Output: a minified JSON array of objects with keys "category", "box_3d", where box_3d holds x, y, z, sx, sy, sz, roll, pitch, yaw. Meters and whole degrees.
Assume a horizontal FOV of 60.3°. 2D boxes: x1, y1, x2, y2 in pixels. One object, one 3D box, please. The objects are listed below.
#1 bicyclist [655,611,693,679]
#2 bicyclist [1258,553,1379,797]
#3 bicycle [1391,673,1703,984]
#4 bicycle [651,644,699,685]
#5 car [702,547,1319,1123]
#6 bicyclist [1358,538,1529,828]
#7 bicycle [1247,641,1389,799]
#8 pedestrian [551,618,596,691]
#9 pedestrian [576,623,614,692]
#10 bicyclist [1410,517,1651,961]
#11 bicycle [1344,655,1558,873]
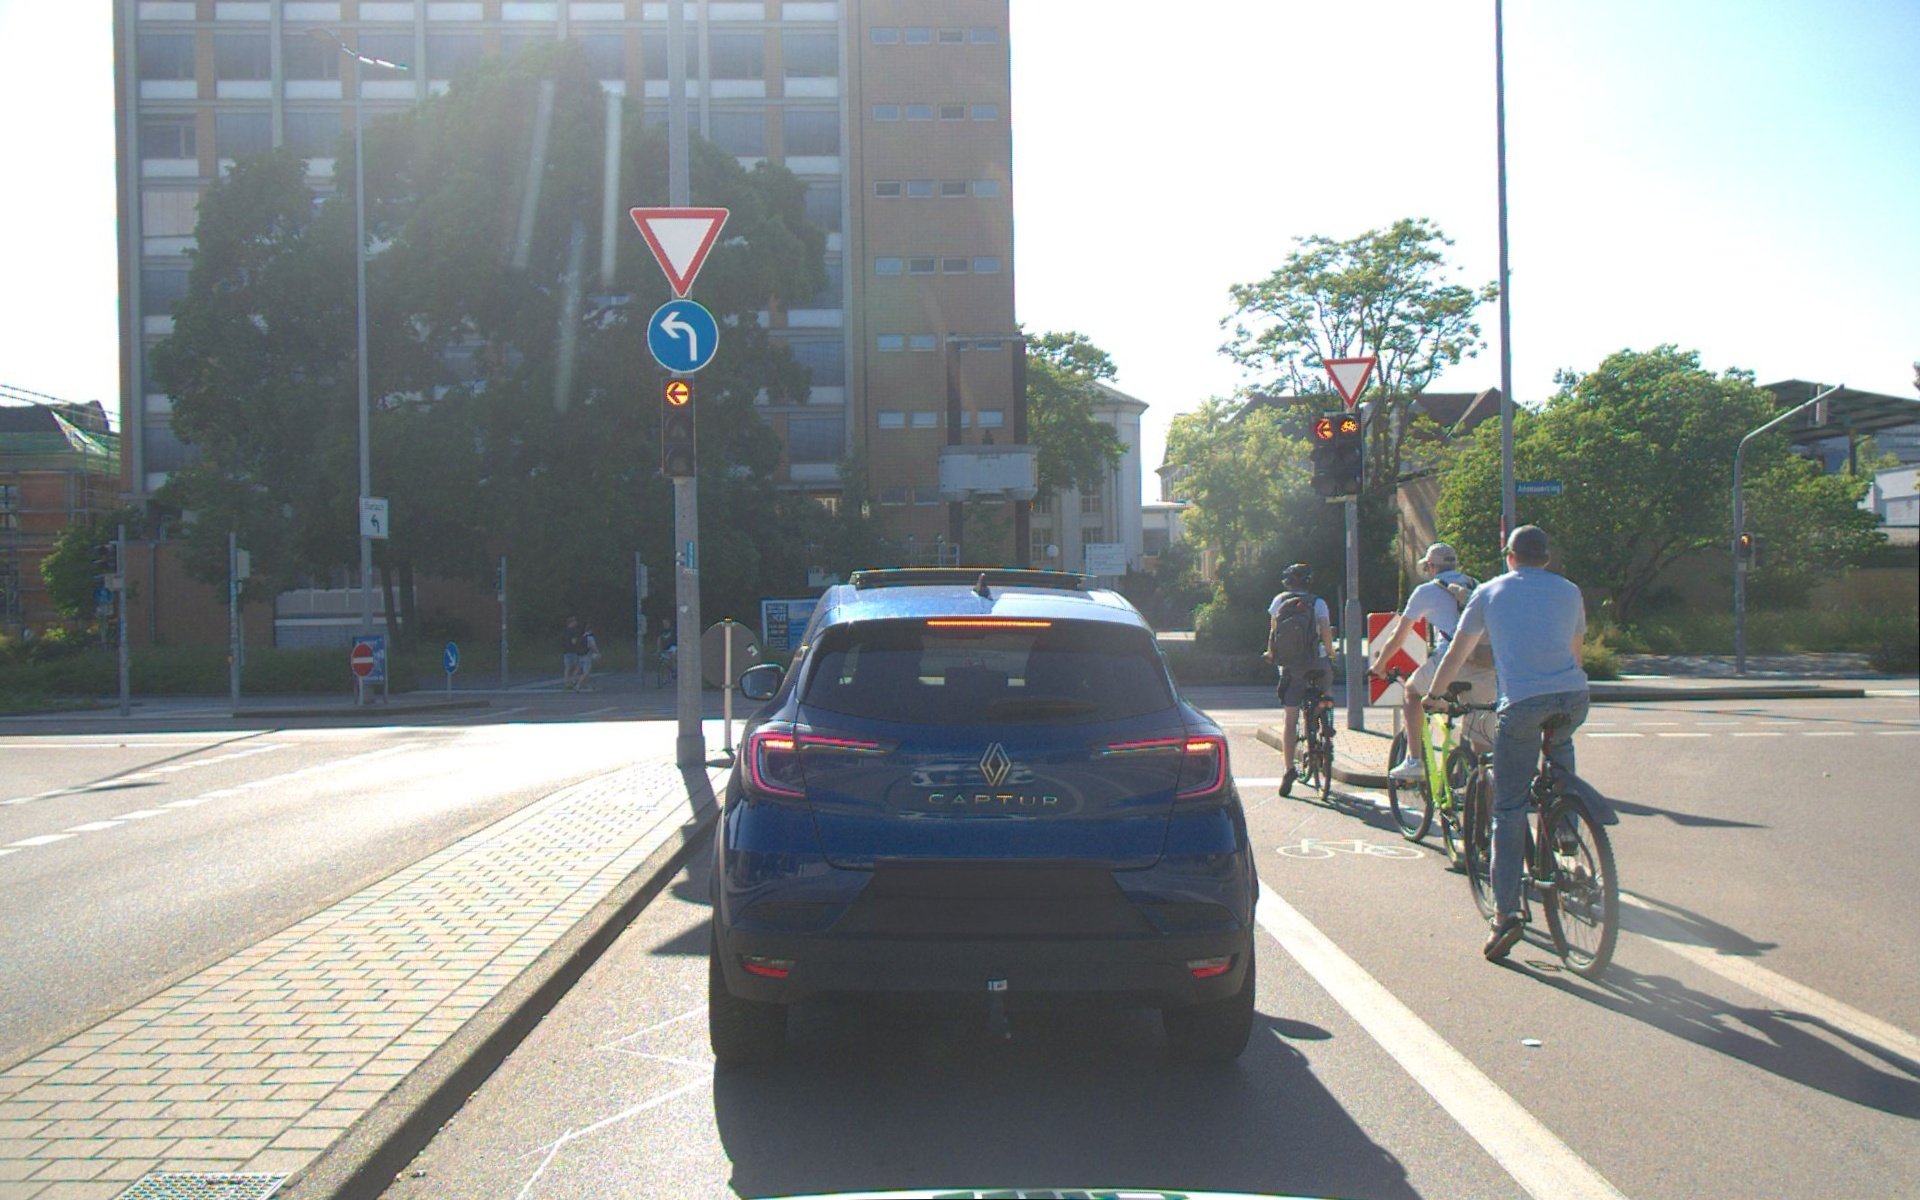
[{"category":"bicyclist","box_3d":[-7.540,1.186,43.664,0.739,1.746,0.999,-1,0,5]},{"category":"bicyclist","box_3d":[2.786,0.561,12.944,0.685,1.822,1.142,0,0,-1]},{"category":"bicycle","box_3d":[2.505,0.920,7.315,0.675,1.108,1.922,0,0,-1]},{"category":"bicycle","box_3d":[-7.521,1.699,43.767,0.739,1.002,2.095,-1,0,5]},{"category":"car","box_3d":[0.063,0.663,6.641,1.753,1.613,3.912,0,0,-3]},{"category":"bicyclist","box_3d":[2.849,0.466,9.847,0.664,1.622,1.142,0,0,-1]},{"category":"bicycle","box_3d":[2.770,0.896,12.976,0.675,1.108,1.922,0,0,-1]},{"category":"pedestrian","box_3d":[-10.152,1.422,43.429,0.796,1.895,0.910,-1,0,13]},{"category":"pedestrian","box_3d":[-9.463,1.476,42.854,0.666,1.761,0.761,-1,0,13]},{"category":"bicyclist","box_3d":[2.499,0.571,7.368,0.669,1.822,1.142,0,0,-1]},{"category":"bicycle","box_3d":[2.857,0.910,9.827,0.675,1.108,1.922,0,0,-1]}]
